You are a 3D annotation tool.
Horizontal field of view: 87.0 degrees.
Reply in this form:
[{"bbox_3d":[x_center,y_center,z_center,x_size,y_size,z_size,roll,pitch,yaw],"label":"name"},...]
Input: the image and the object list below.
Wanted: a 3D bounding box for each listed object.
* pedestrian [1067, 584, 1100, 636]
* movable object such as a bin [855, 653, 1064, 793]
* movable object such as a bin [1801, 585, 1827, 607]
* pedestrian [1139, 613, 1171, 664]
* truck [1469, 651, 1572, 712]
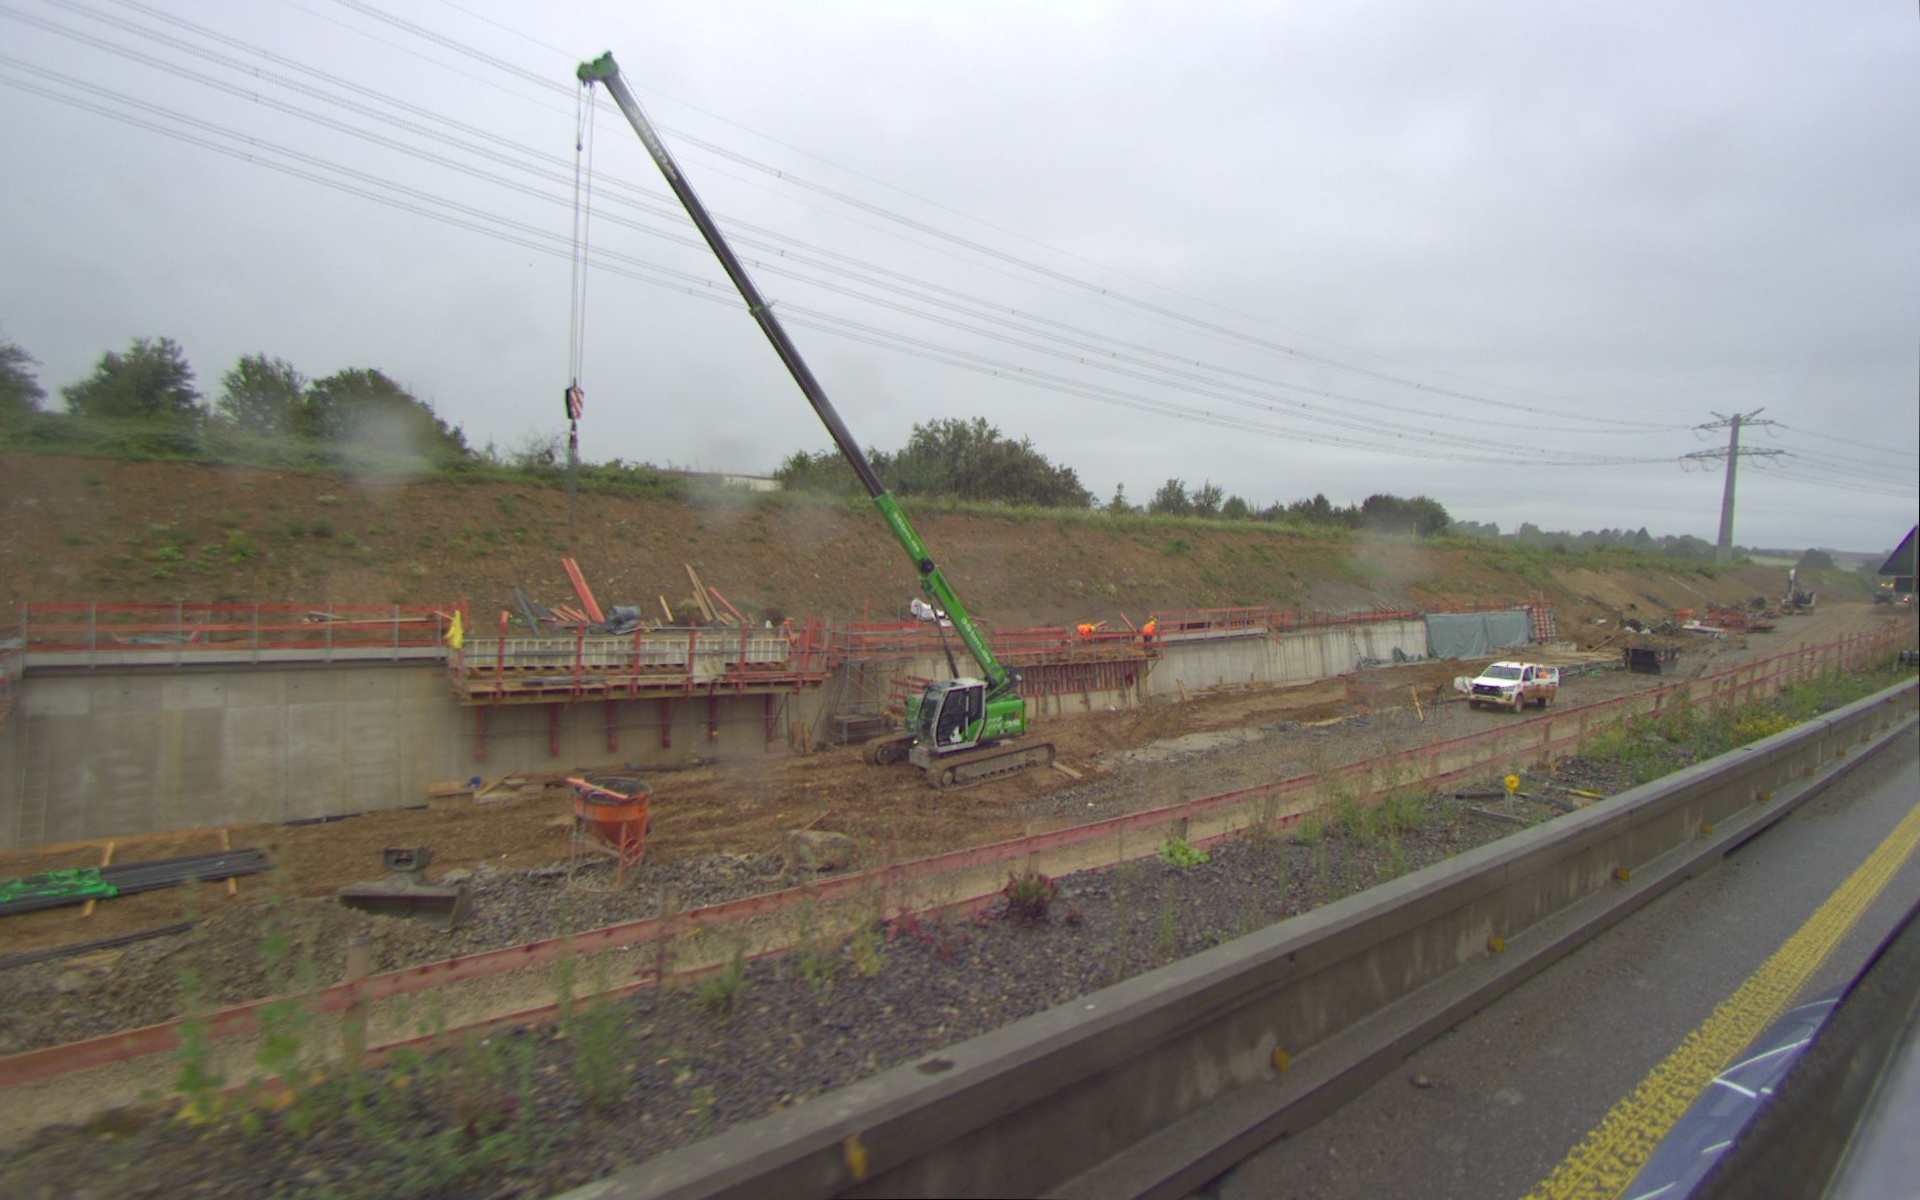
[{"bbox_3d":[5.574,0.468,45.751,0.989,2.275,0.915,-1,-3,-44],"label":"pedestrian"},{"bbox_3d":[0.000,3.439,29.870,4.775,2.836,3.799,-7,6,-41],"label":"movable object such as a bin"},{"bbox_3d":[109.470,-0.506,129.712,3.934,2.753,2.248,-1,1,-44],"label":"movable object such as a bin"},{"bbox_3d":[8.945,1.780,46.442,0.987,2.260,0.917,-2,-3,-37],"label":"pedestrian"},{"bbox_3d":[22.946,3.252,41.308,5.685,1.894,1.766,-1,3,-41],"label":"truck"}]
